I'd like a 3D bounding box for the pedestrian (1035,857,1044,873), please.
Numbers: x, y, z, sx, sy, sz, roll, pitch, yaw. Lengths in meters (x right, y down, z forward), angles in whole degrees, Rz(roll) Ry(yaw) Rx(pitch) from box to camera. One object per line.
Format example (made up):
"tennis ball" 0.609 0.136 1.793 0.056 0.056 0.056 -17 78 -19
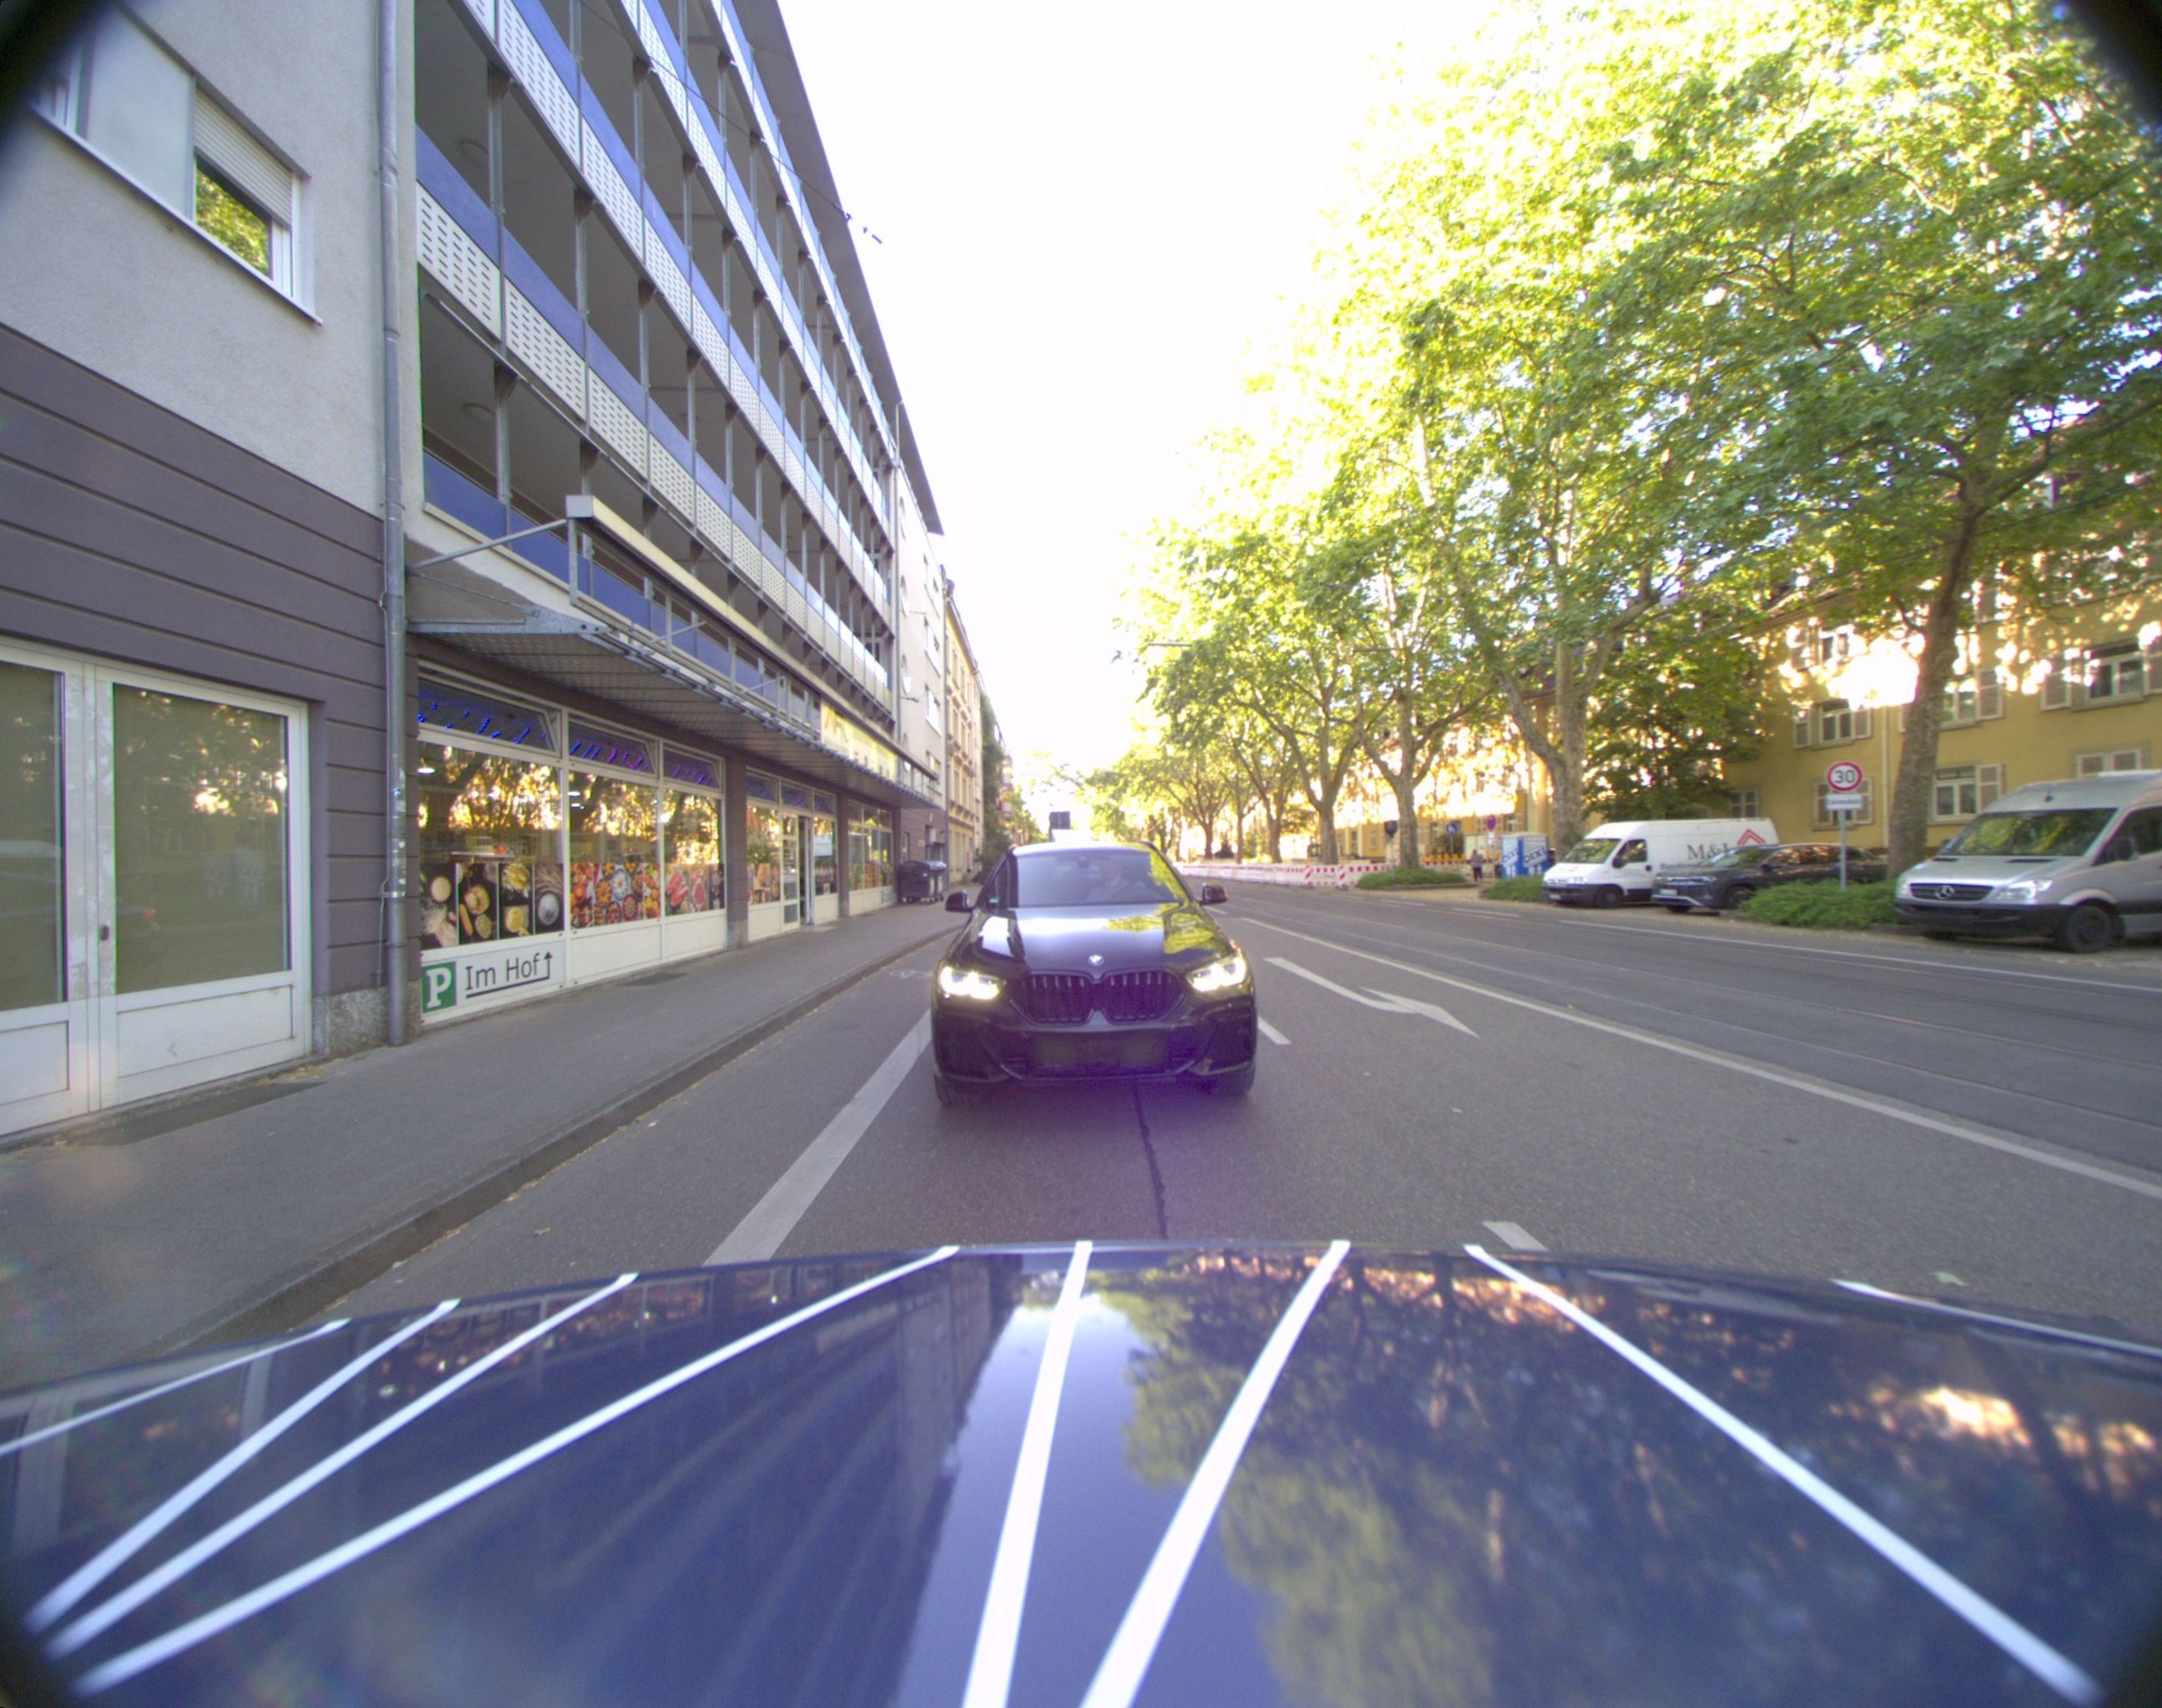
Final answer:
"pedestrian" -4.662 1.222 85.657 0.876 1.728 0.848 -3 1 1

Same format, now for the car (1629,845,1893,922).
"car" 15.941 0.659 17.982 4.575 1.621 1.969 -1 0 -2

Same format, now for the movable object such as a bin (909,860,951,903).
"movable object such as a bin" -5.287 0.952 26.715 1.122 1.437 1.306 -1 0 4

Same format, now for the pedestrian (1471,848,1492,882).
"pedestrian" 18.594 0.491 35.316 0.596 1.563 0.717 -1 0 3

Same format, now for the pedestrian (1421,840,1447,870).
"pedestrian" 24.040 0.100 51.797 1.098 2.002 1.235 -1 0 -4

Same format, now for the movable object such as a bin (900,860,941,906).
"movable object such as a bin" -5.227 0.932 24.819 1.069 1.438 1.296 -1 0 -1

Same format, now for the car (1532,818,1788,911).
"car" 15.852 0.277 21.008 5.612 2.361 2.025 -1 0 -2

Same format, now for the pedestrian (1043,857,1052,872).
"pedestrian" -3.729 1.176 85.619 0.876 1.728 0.848 -3 1 1

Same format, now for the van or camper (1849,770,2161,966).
"van or camper" 16.090 0.130 11.809 6.127 2.661 2.229 -2 0 -2

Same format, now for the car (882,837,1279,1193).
"car" 0.022 0.824 6.066 1.943 1.733 4.475 -2 0 1

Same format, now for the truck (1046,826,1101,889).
"truck" -0.576 0.202 43.164 2.385 3.165 8.525 2 0 -5
